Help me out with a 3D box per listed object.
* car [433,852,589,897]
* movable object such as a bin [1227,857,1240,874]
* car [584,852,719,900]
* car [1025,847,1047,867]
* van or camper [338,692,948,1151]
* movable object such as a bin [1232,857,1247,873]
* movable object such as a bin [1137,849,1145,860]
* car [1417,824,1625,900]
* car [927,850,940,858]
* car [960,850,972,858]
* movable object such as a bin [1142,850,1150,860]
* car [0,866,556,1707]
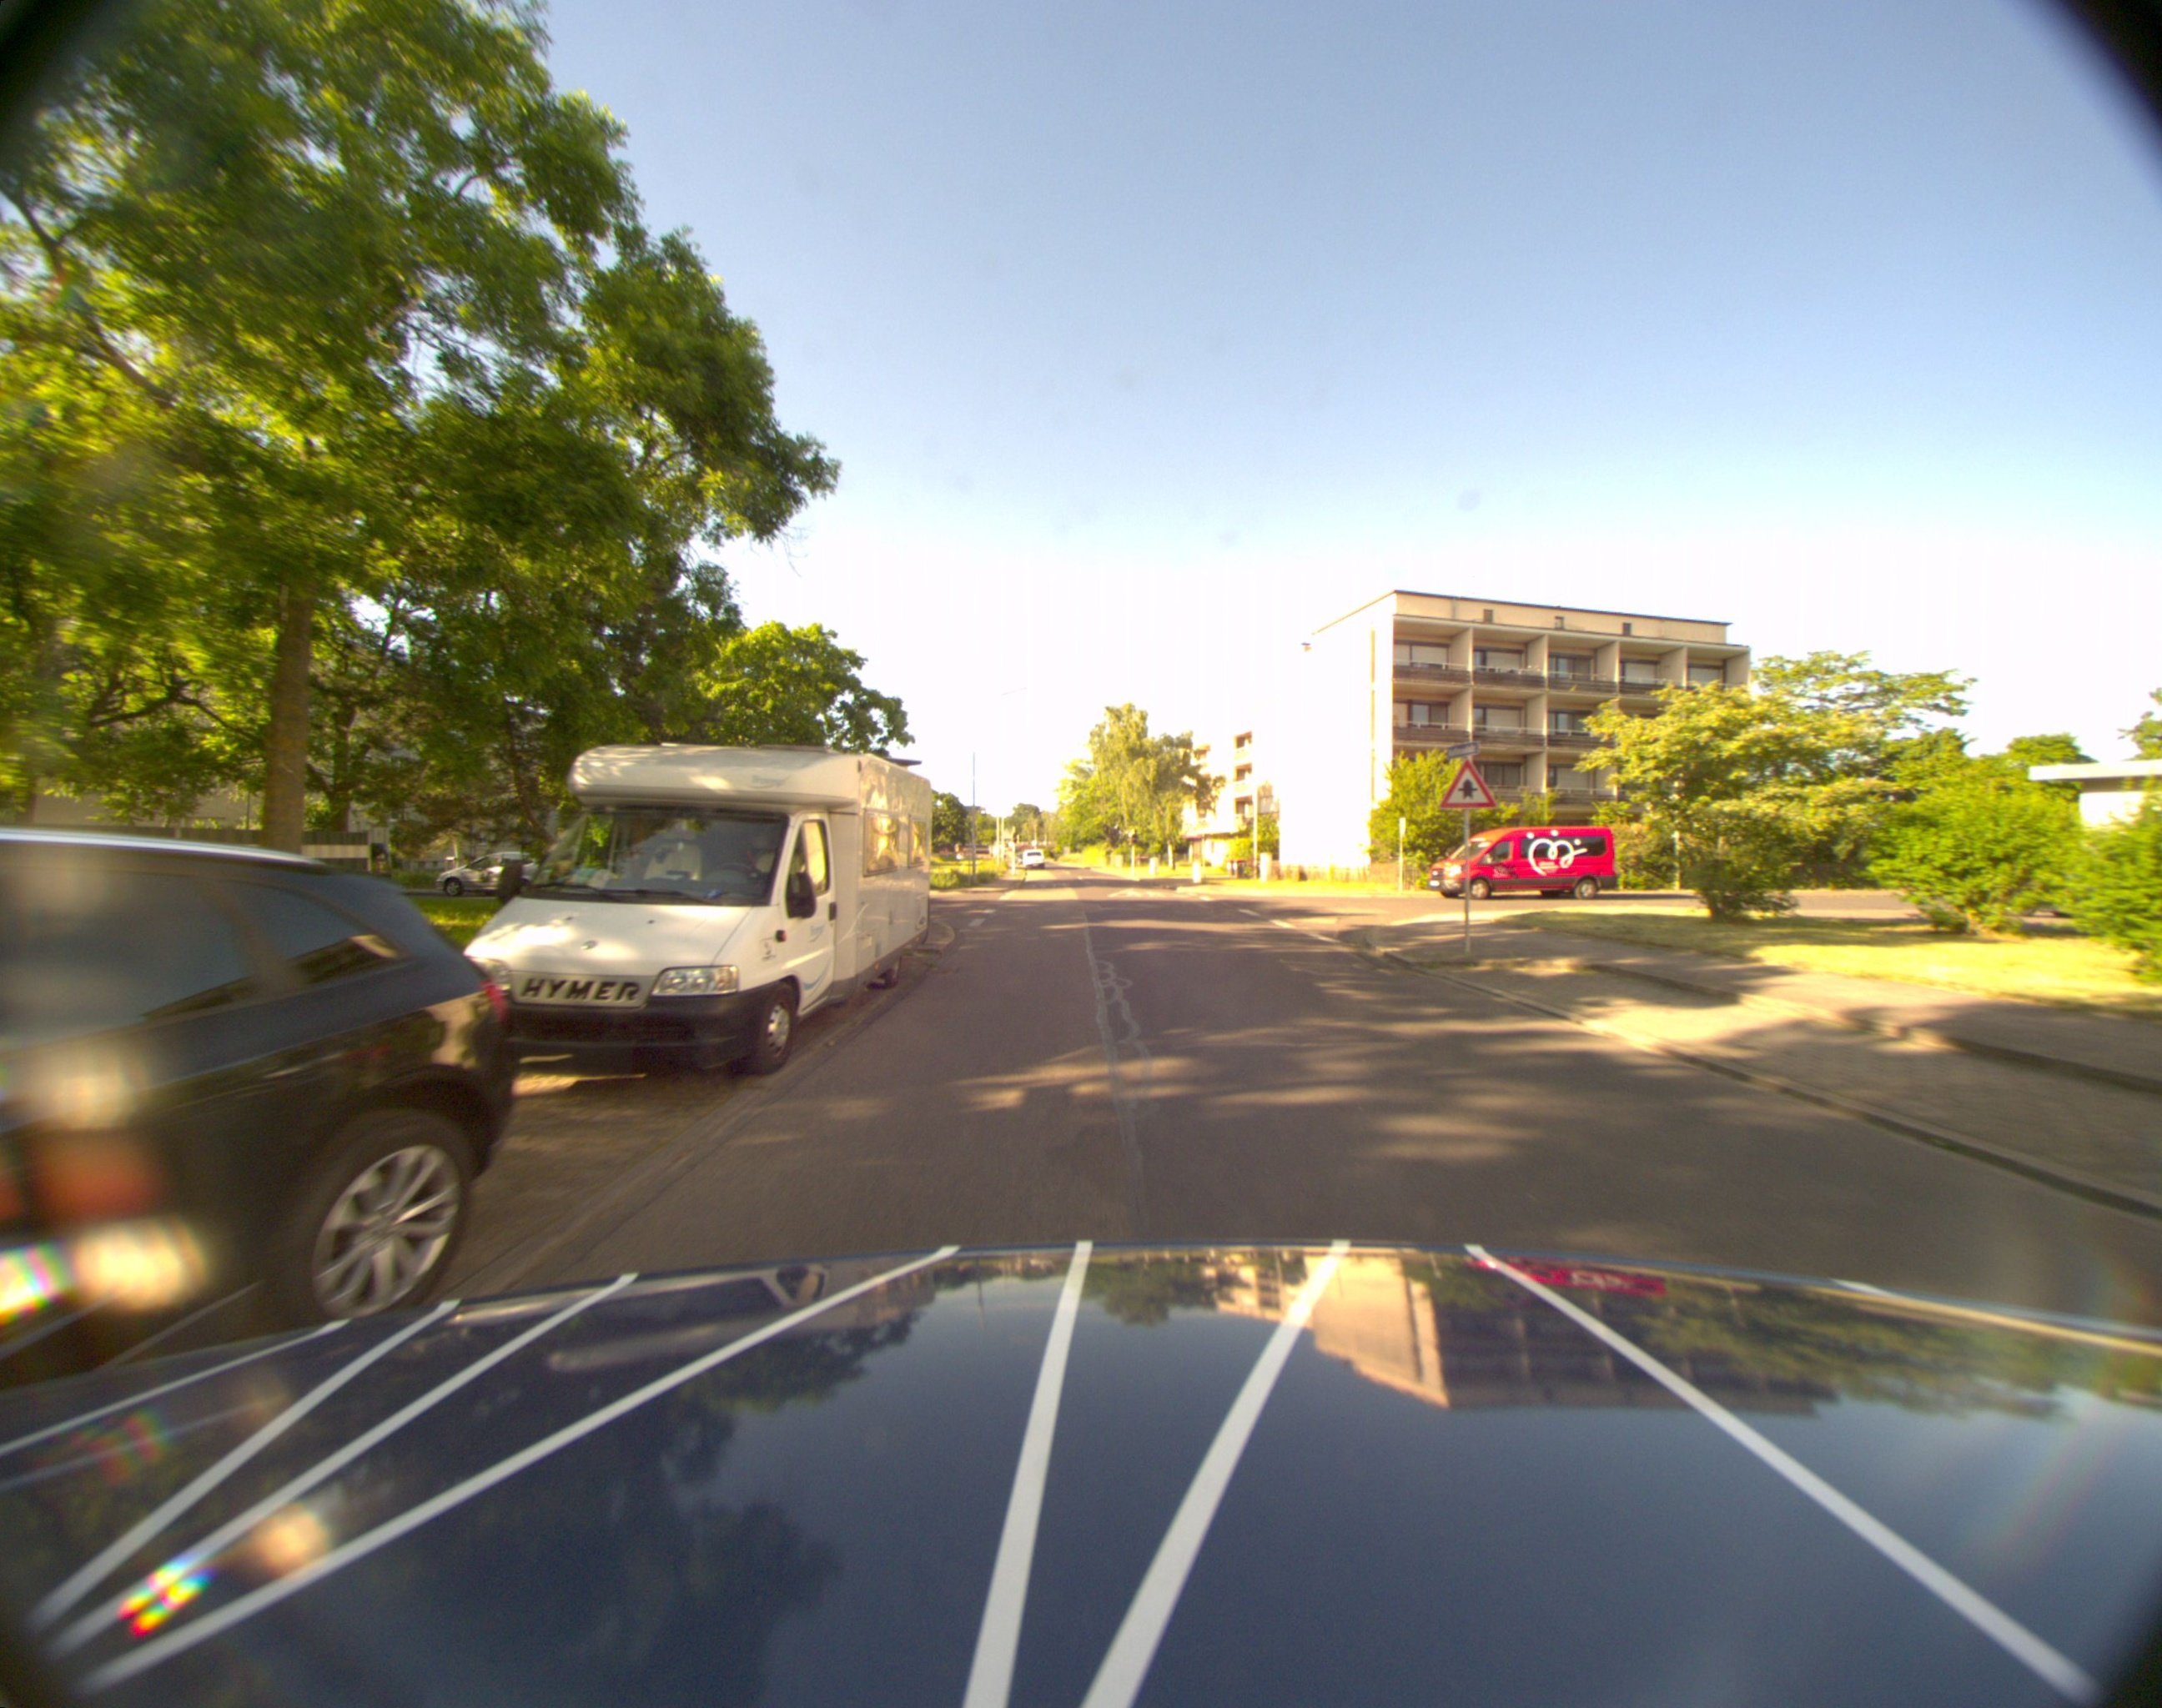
[{"bbox_3d":[-20.116,0.725,26.916,4.111,1.532,1.974,0,-1,4],"label":"car"},{"bbox_3d":[9.696,0.749,48.398,0.565,1.047,0.556,0,1,-25],"label":"movable object such as a bin"},{"bbox_3d":[-14.796,0.738,26.297,3.692,1.569,1.829,0,0,5],"label":"car"},{"bbox_3d":[-4.333,0.261,72.659,1.921,1.861,4.862,-1,1,-5],"label":"car"},{"bbox_3d":[-3.141,0.392,7.681,2.357,2.581,6.425,3,0,0],"label":"van or camper"},{"bbox_3d":[9.949,0.689,47.806,0.629,1.042,0.701,0,1,-26],"label":"movable object such as a bin"},{"bbox_3d":[5.985,0.047,76.217,0.623,1.018,0.710,1,1,-10],"label":"movable object such as a bin"},{"bbox_3d":[14.997,0.277,26.124,5.921,2.414,2.213,1,-1,-3],"label":"car"},{"bbox_3d":[-34.693,0.028,179.030,1.859,1.763,4.002,1,0,8],"label":"car"},{"bbox_3d":[-26.977,0.076,178.658,1.955,1.849,4.000,1,0,2],"label":"car"},{"bbox_3d":[6.494,0.063,76.321,0.623,1.018,0.710,1,1,-10],"label":"movable object such as a bin"},{"bbox_3d":[-3.146,0.909,0.895,1.999,1.631,4.535,2,0,-2],"label":"car"}]
